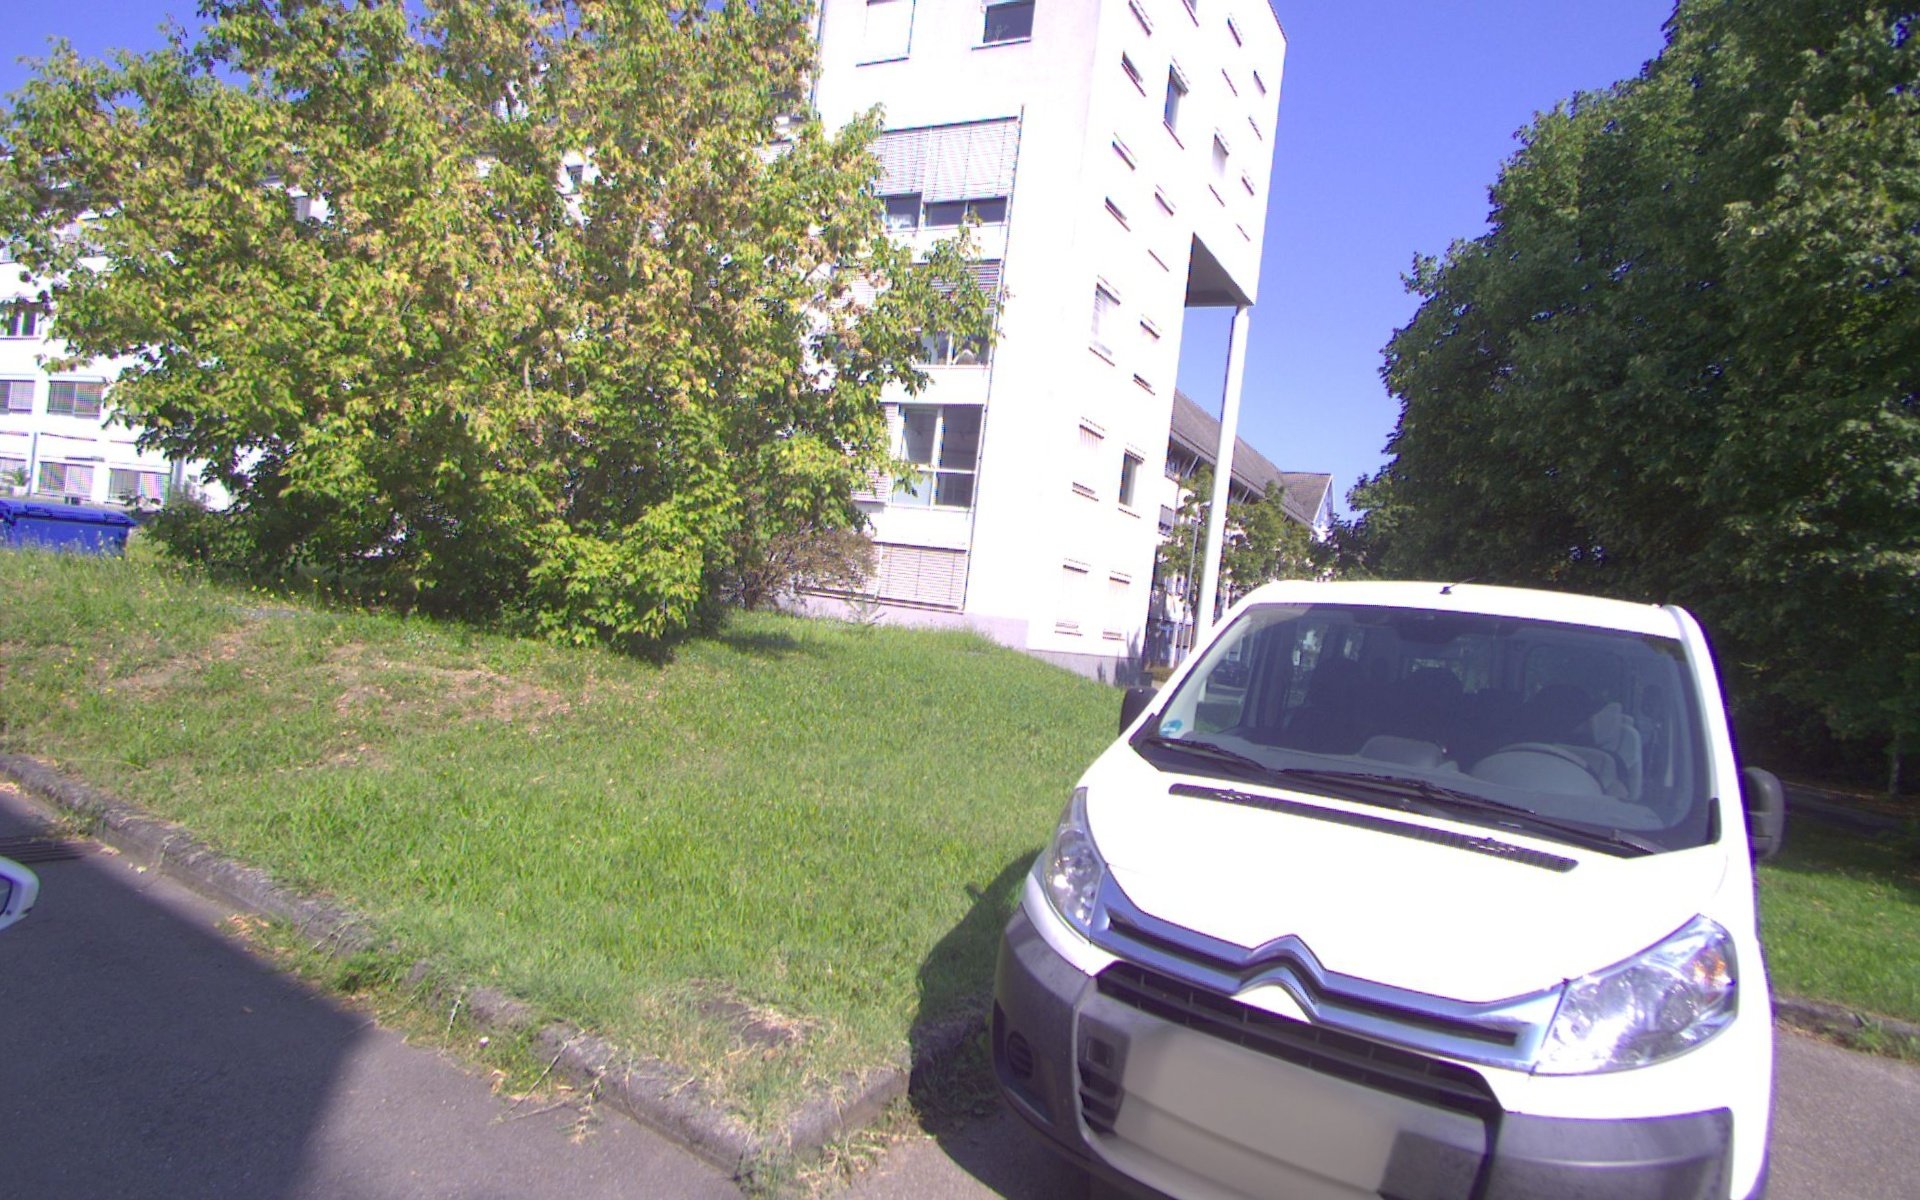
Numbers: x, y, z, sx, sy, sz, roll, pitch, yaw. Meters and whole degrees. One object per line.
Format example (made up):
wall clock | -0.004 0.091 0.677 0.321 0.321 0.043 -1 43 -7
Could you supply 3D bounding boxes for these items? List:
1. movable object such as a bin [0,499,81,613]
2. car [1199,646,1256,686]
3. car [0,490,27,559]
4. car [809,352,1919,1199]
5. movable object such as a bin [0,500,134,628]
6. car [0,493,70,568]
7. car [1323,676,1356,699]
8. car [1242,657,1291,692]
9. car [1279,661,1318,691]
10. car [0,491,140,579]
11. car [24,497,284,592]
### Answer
movable object such as a bin | -12.318 -0.610 12.916 1.099 1.356 1.235 6 -1 35
car | 14.874 3.695 55.770 1.920 1.747 3.997 6 -3 30
car | -26.161 -2.177 24.841 1.741 1.711 4.126 6 -2 29
car | 1.908 0.788 4.023 2.011 1.942 4.964 6 -3 34
movable object such as a bin | -10.916 -0.433 11.989 1.058 1.356 1.229 6 -1 27
car | -23.733 -1.843 23.530 1.846 1.607 3.873 6 -2 27
car | 30.935 7.138 82.008 1.737 1.542 3.997 6 -3 30
car | 19.338 4.723 63.428 1.920 1.747 3.997 6 -3 30
car | 24.182 5.449 71.843 1.737 1.747 3.997 6 -3 30
car | -20.881 -1.529 22.178 1.863 1.607 3.812 6 -2 22
car | -15.852 -1.044 19.956 1.772 1.566 3.619 6 2 30
